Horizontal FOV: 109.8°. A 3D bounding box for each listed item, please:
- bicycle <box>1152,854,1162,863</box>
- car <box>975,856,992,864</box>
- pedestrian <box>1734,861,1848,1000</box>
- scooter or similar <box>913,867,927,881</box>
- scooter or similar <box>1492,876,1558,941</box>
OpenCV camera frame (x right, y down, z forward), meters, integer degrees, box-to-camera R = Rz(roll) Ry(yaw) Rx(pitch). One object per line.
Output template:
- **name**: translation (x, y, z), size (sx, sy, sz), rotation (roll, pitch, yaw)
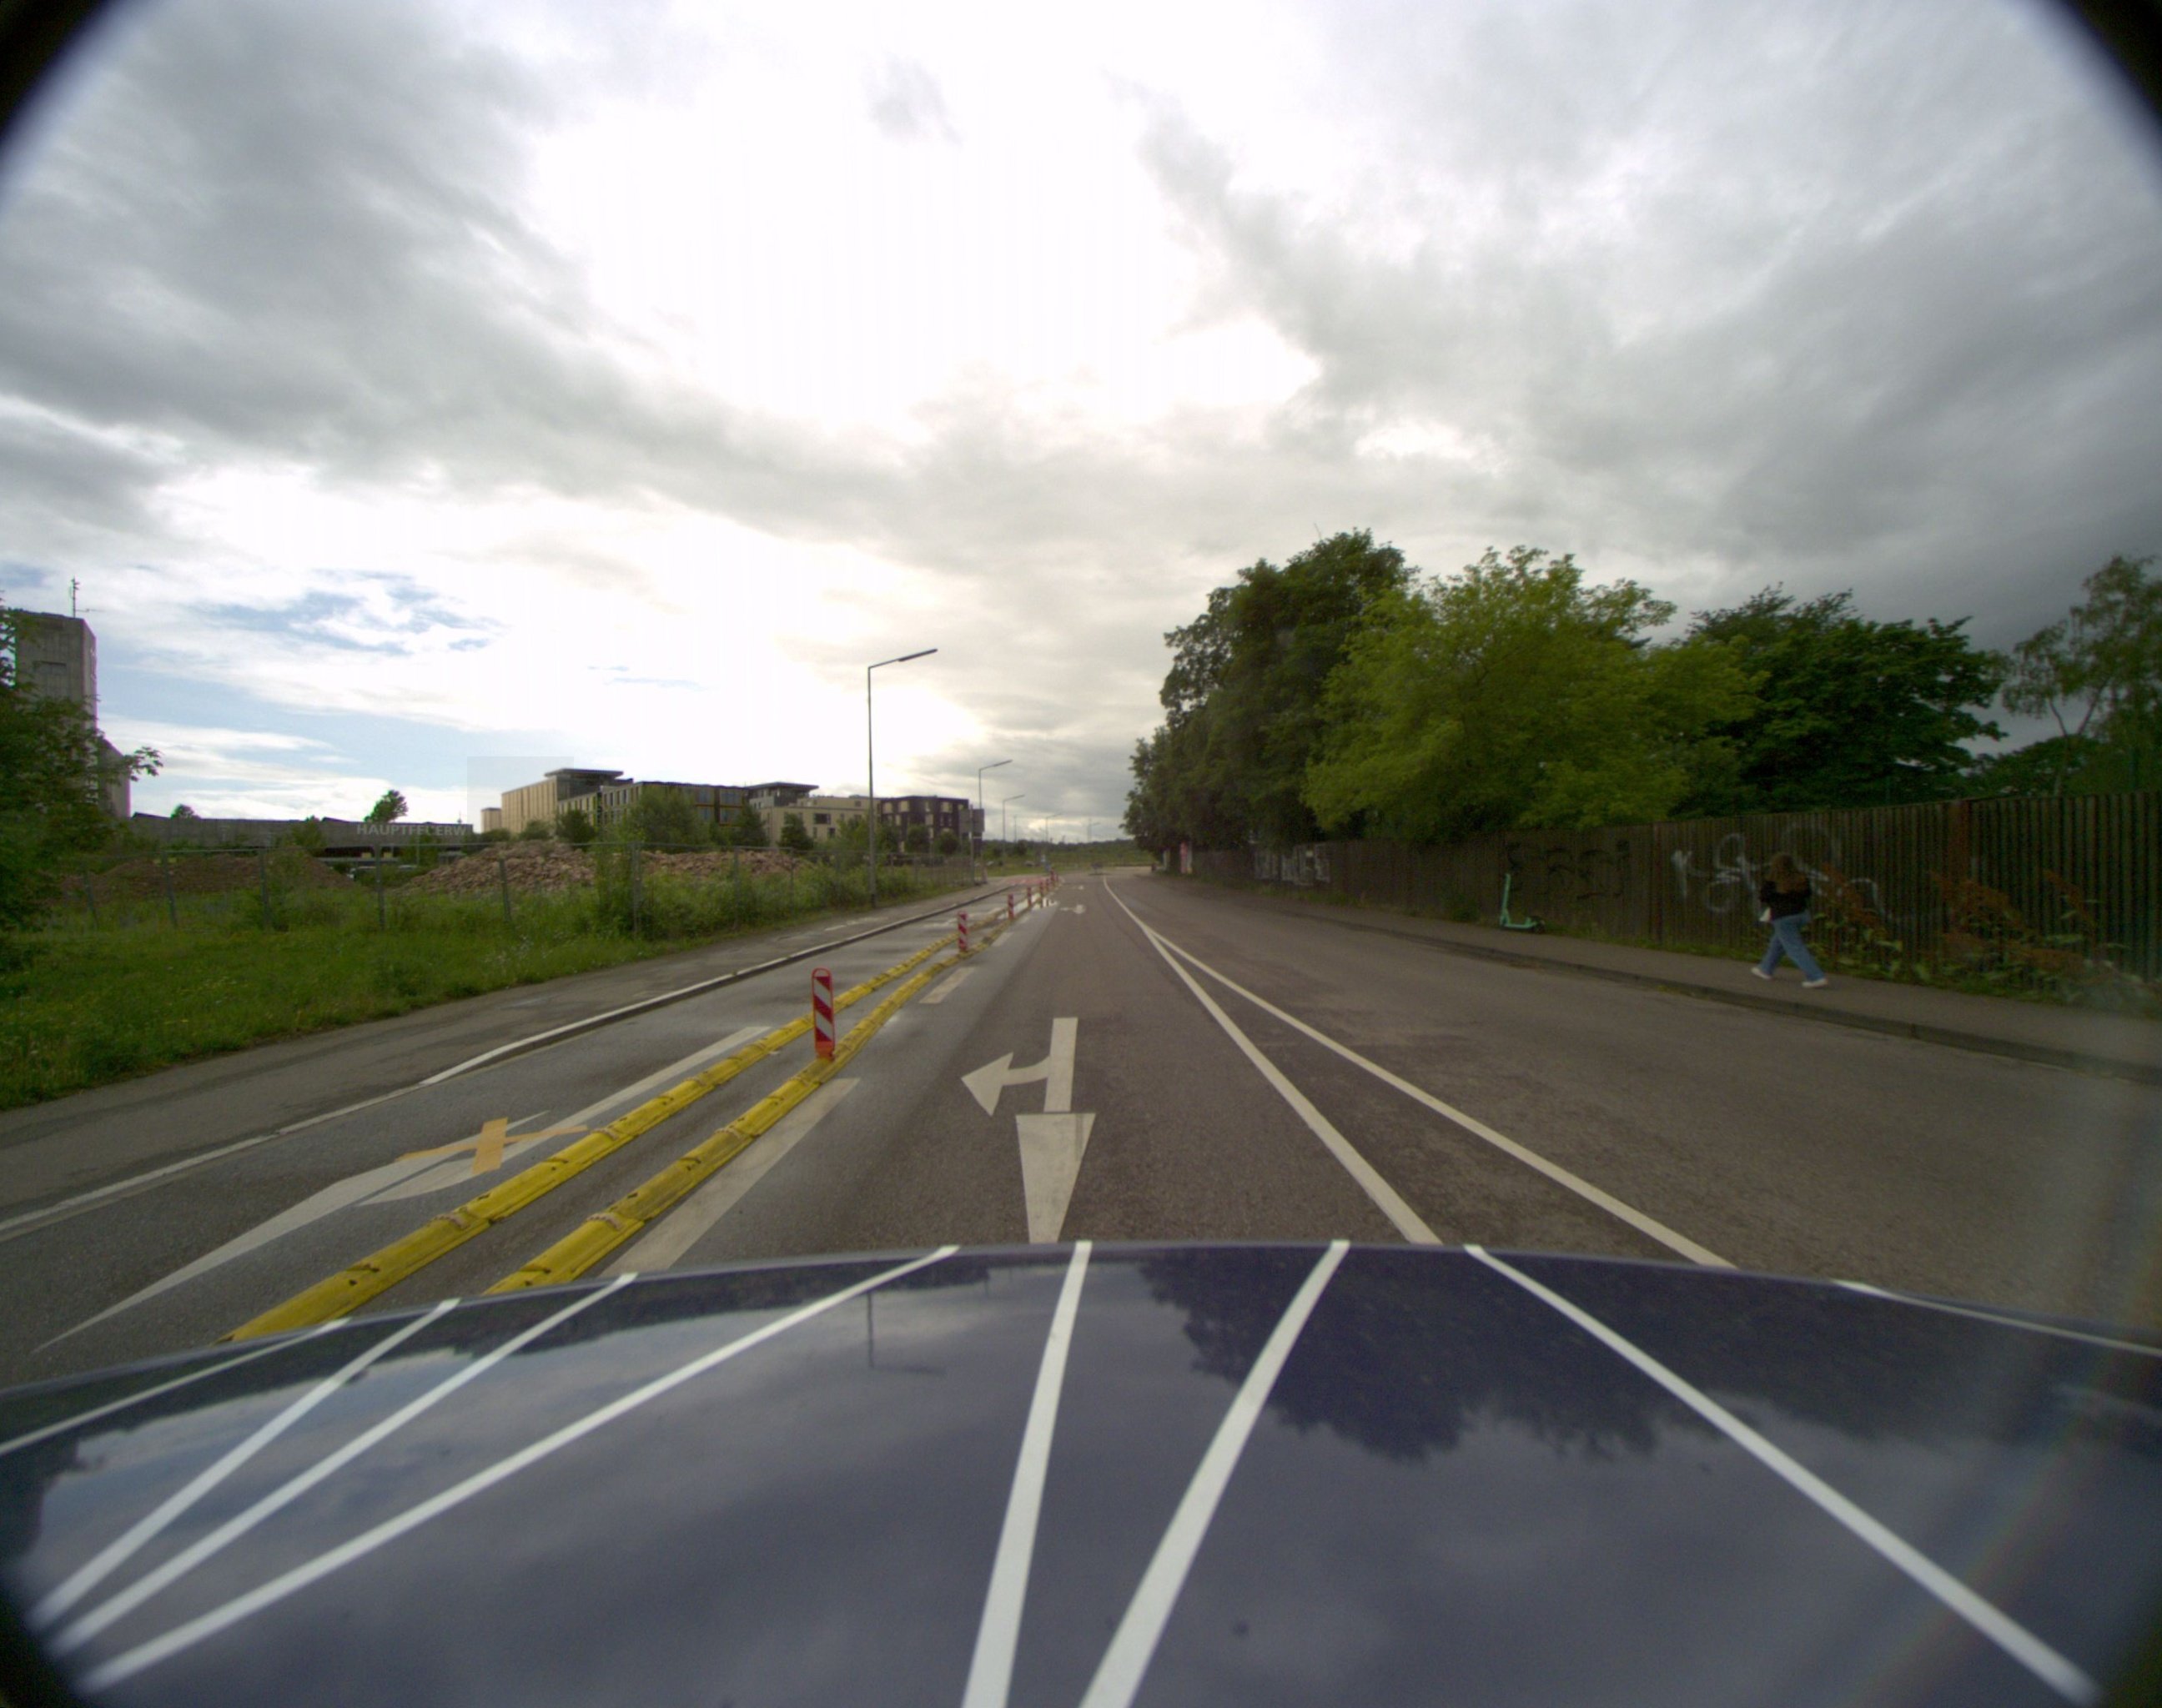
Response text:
- **bicycle**: translation (9.263, 0.553, 92.423), size (0.582, 0.992, 1.773), rotation (-3, 0, 28)
- **car**: translation (-24.891, 1.626, 194.031), size (1.994, 2.002, 4.009), rotation (0, 0, 42)
- **pedestrian**: translation (8.146, 0.843, 8.745), size (0.614, 1.520, 0.724), rotation (-1, 0, -4)
- **scooter or similar**: translation (-13.242, 1.646, 62.458), size (1.323, 1.178, 0.447), rotation (-1, 0, 41)
- **scooter or similar**: translation (8.595, 1.036, 14.756), size (0.424, 1.164, 1.303), rotation (-1, 0, -5)
